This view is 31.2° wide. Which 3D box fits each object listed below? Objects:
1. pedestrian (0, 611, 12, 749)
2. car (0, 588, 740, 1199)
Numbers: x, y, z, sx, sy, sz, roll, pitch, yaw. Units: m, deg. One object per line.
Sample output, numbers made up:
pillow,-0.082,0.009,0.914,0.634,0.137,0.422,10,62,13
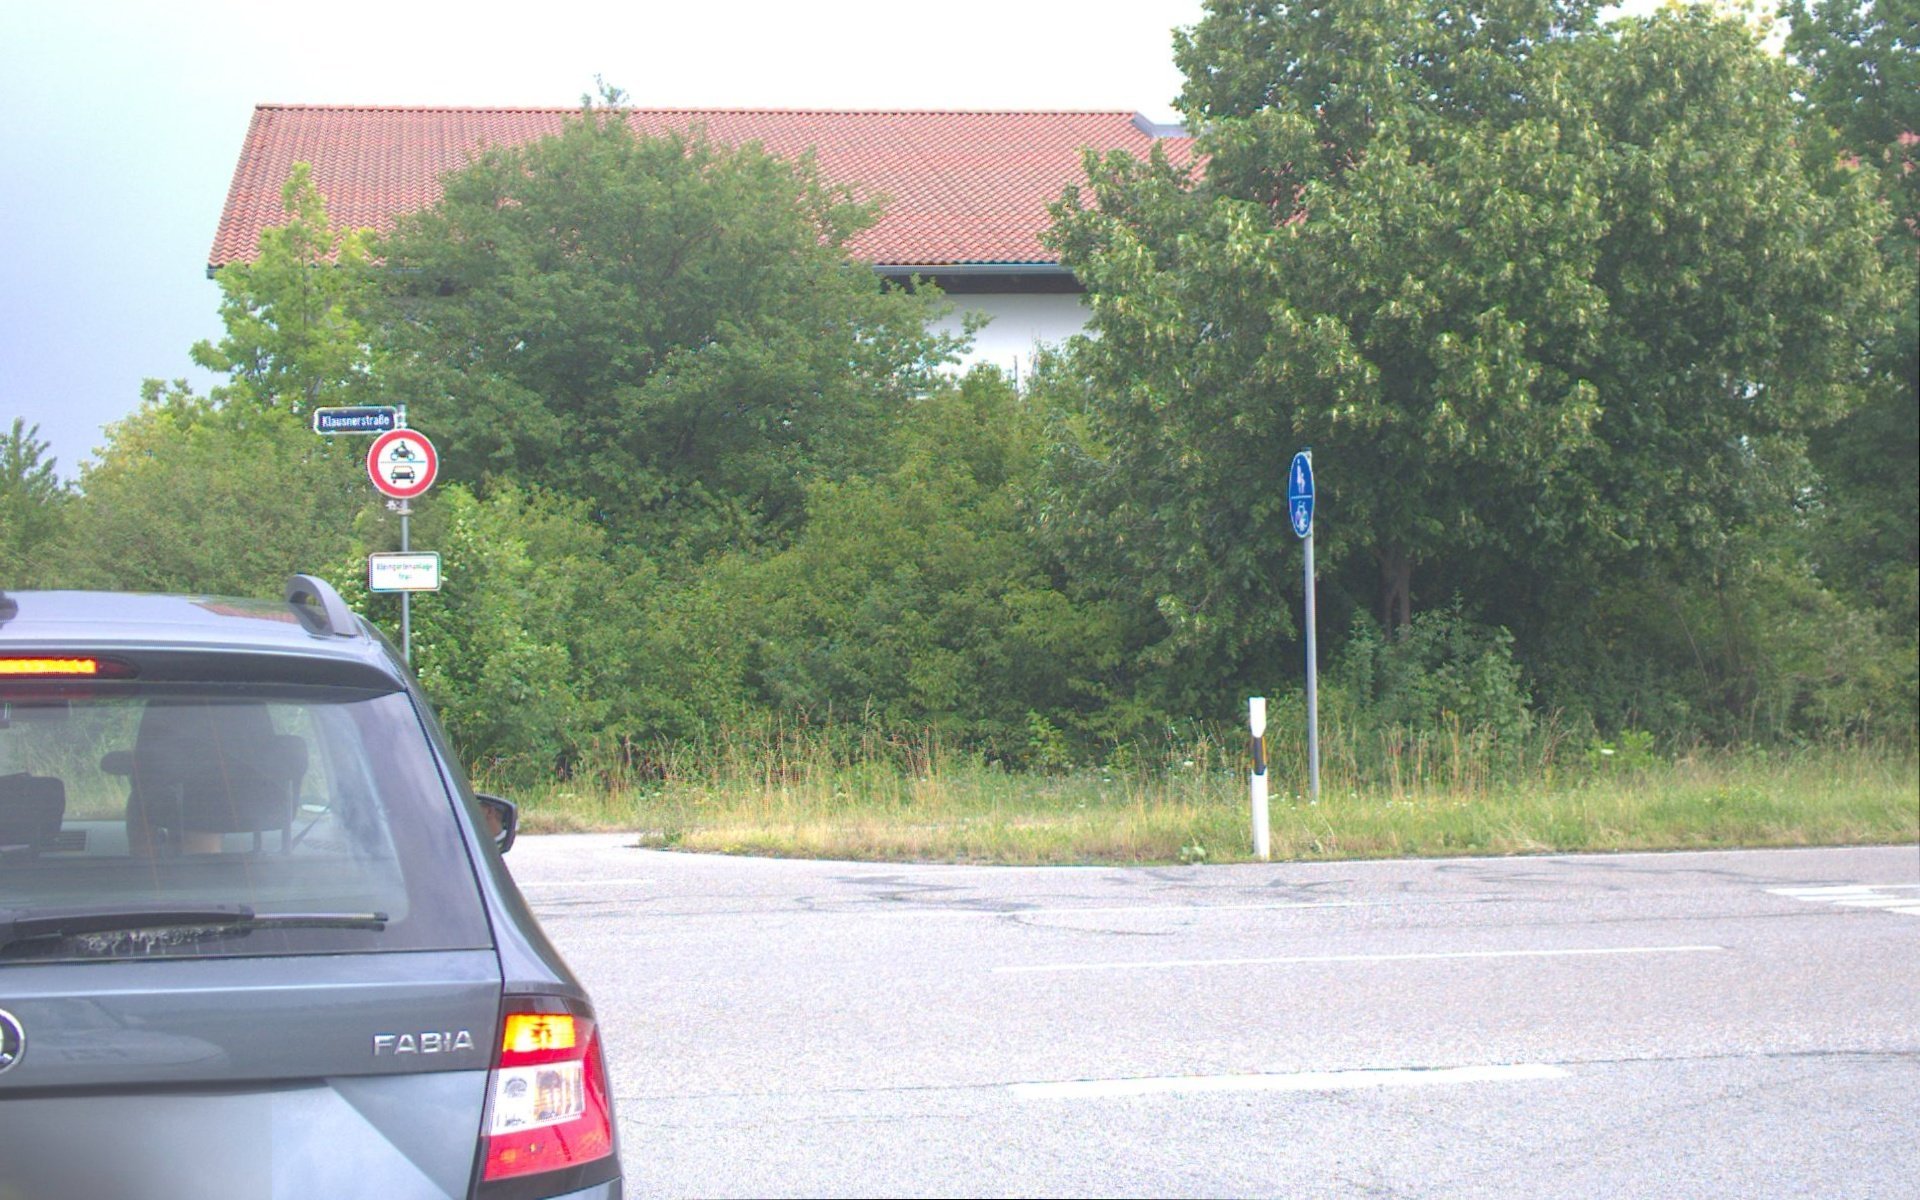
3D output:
pedestrian,-12.034,0.991,42.063,0.584,1.677,0.565,-1,1,18
car,-1.573,0.718,5.468,1.676,1.458,3.708,0,0,-16
